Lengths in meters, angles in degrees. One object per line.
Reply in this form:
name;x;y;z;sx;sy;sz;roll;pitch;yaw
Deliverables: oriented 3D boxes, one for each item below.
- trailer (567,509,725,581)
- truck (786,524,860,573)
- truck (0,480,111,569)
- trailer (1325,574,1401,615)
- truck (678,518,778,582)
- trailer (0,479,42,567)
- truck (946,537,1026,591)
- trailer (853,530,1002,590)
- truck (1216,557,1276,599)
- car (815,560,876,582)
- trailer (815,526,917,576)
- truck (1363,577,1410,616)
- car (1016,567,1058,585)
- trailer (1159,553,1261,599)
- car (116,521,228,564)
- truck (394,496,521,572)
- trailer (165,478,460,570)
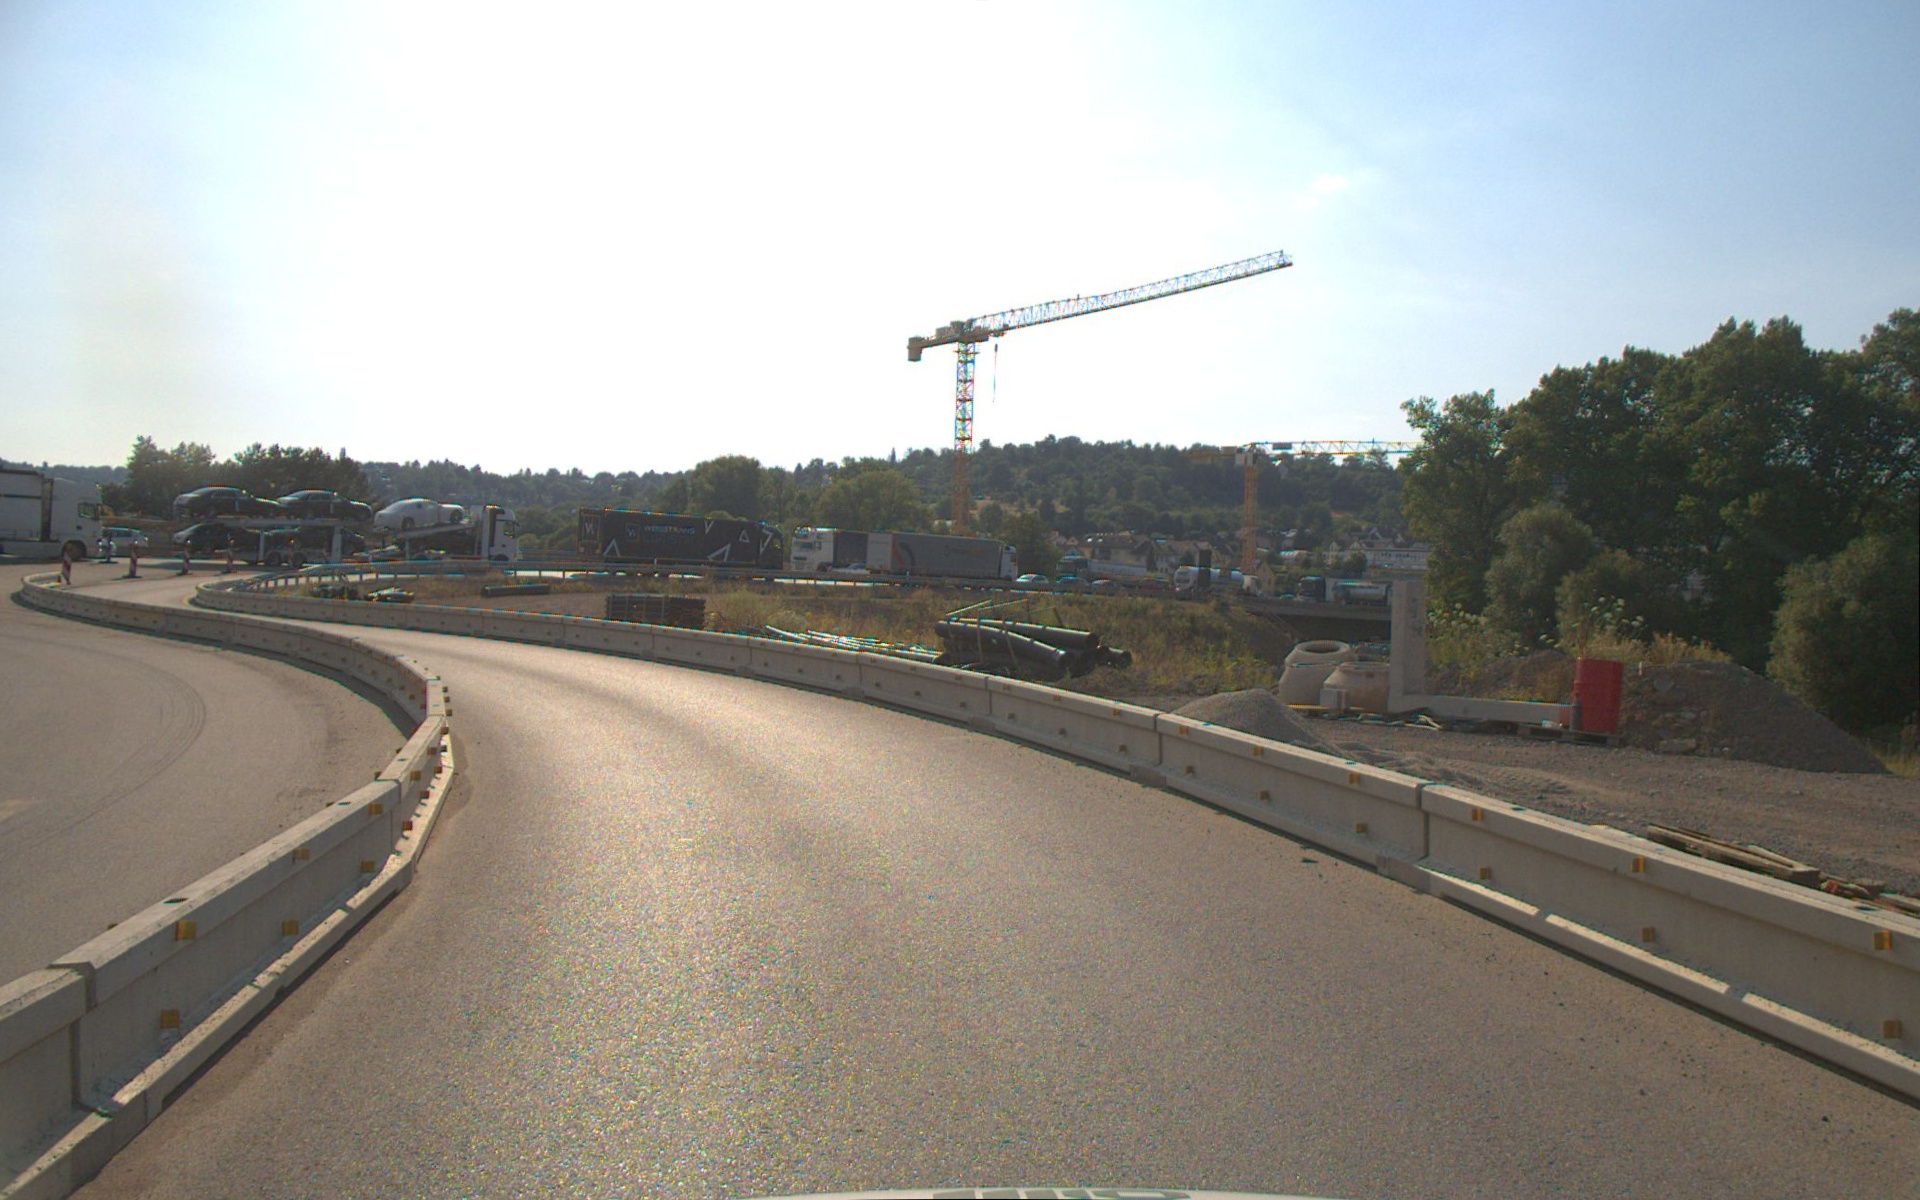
trailer;-20.465;-3.561;108.561;2.913;4.163;10.739;2;0;39
truck;-11.265;-4.221;136.073;2.949;3.792;5.661;2;0;38
truck;-43.939;-3.576;78.395;2.441;3.945;5.985;3;1;37
trailer;47.668;-0.552;195.313;3.054;4.389;14.187;3;1;38
truck;-15.970;-3.418;114.163;2.840;4.066;6.591;3;1;39
trailer;-48.159;-3.749;72.857;2.441;3.945;13.570;3;1;37
truck;2.206;-2.975;137.782;3.290;4.066;6.594;3;1;38
trailer;-2.375;-3.112;131.902;3.331;4.066;14.678;3;1;38
truck;30.126;-2.261;173.896;3.336;4.066;6.594;3;1;38
car;-9.239;-2.357;133.917;1.998;1.526;4.955;6;3;39
trailer;-7.872;-4.127;140.367;2.960;3.817;9.523;2;0;39
truck;51.811;-0.415;200.718;3.049;4.360;6.594;3;1;38
car;7.158;-2.217;153.705;1.631;1.526;4.217;6;3;39
trailer;25.518;-2.399;167.897;3.331;4.066;14.678;3;1;38
car;-41.979;-3.042;88.194;1.998;2.014;4.955;6;3;39
truck;-29.430;-3.823;97.025;2.803;4.066;6.594;3;1;38
trailer;-34.793;-3.990;90.086;2.812;4.066;15.675;3;1;38
